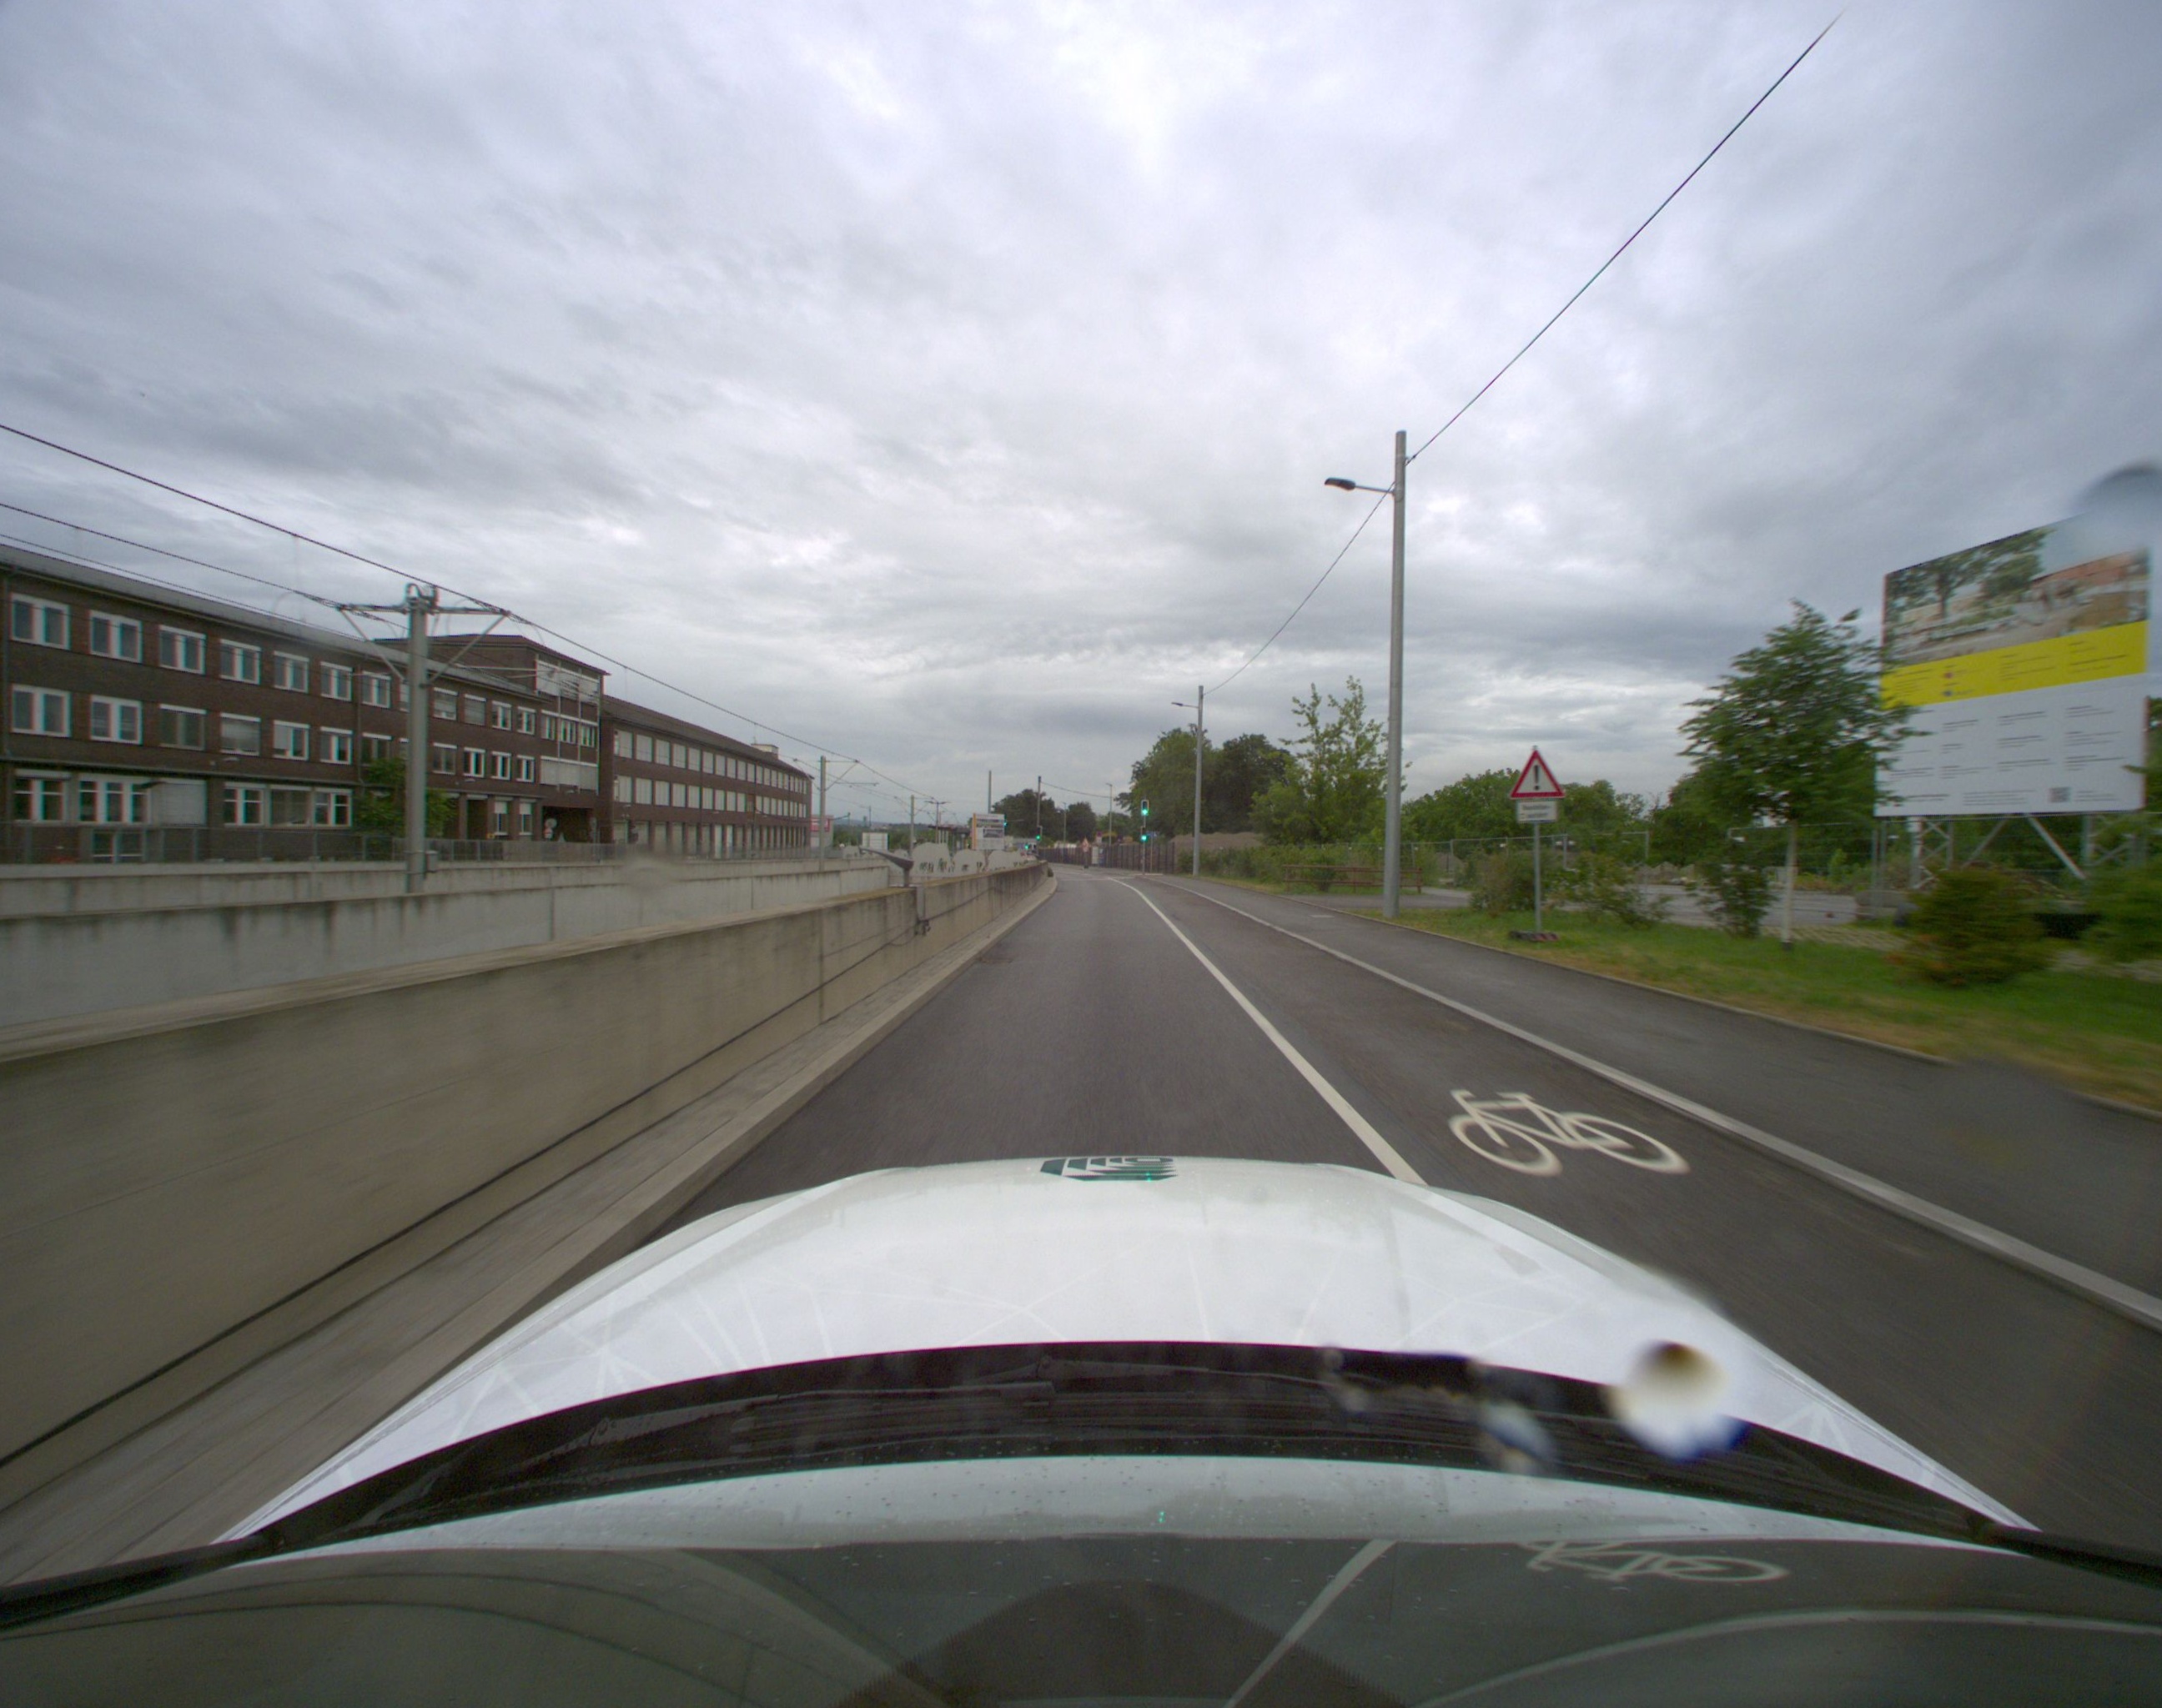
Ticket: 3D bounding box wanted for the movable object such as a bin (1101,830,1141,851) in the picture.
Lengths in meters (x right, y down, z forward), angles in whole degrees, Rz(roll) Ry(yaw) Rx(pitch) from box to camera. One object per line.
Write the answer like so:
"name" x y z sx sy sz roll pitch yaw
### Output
"movable object such as a bin" 11.625 -3.947 237.707 11.207 5.995 3.487 -1 -1 -4
